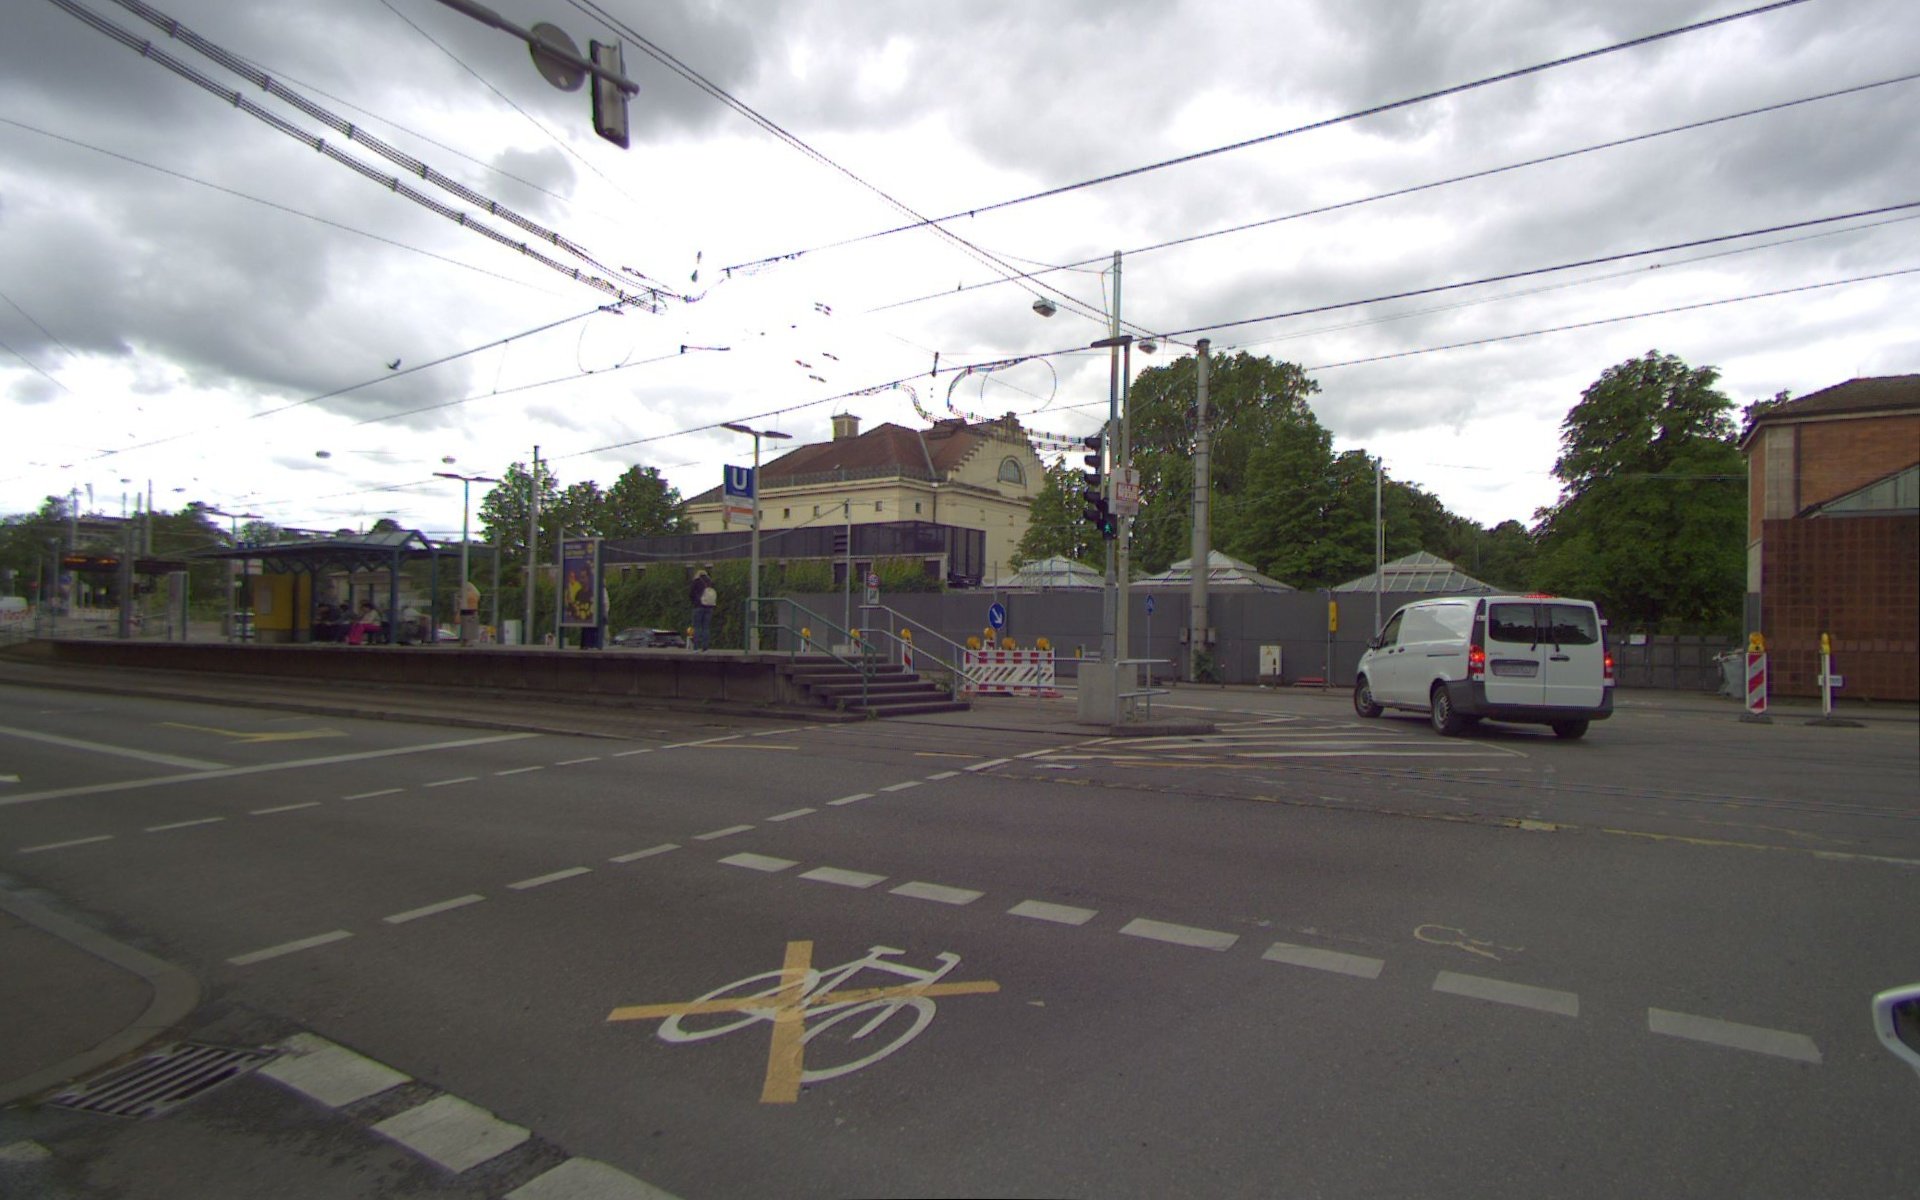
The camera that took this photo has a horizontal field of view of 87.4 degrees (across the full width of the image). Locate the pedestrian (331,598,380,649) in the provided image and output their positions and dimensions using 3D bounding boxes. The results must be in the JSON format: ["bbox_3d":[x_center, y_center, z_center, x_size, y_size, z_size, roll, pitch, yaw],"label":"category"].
[{"bbox_3d":[-15.876,0.618,26.385,0.761,1.286,0.807,1,-2,35],"label":"pedestrian"}]

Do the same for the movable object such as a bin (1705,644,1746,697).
[{"bbox_3d":[20.255,1.851,26.595,0.837,1.358,0.798,-1,-3,36],"label":"movable object such as a bin"}]

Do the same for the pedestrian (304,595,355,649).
[{"bbox_3d":[-16.831,0.590,26.831,0.920,1.391,0.819,1,-2,35],"label":"pedestrian"}]

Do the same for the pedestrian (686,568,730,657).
[{"bbox_3d":[-4.712,0.238,18.763,0.517,1.631,0.597,-1,-3,33],"label":"pedestrian"}]

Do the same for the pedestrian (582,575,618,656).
[{"bbox_3d":[-7.770,0.348,21.667,0.588,1.721,0.457,-1,-2,33],"label":"pedestrian"}]

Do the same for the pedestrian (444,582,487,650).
[{"bbox_3d":[-12.524,0.423,25.440,0.532,1.698,0.777,-1,-3,33],"label":"pedestrian"}]

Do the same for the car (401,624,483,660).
[{"bbox_3d":[-24.151,1.957,46.810,3.934,1.572,1.752,0,-3,35],"label":"car"}]

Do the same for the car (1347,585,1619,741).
[{"bbox_3d":[7.534,0.926,15.092,1.885,1.926,4.705,1,-3,4],"label":"car"}]

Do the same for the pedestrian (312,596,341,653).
[{"bbox_3d":[-18.739,0.718,29.698,0.473,1.662,0.595,2,-1,-10],"label":"pedestrian"}]

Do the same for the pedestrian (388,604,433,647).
[{"bbox_3d":[-14.696,0.681,26.884,0.640,1.137,0.819,1,-2,35],"label":"pedestrian"}]

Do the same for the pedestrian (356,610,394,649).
[{"bbox_3d":[-15.162,0.769,26.038,0.505,0.992,0.661,-1,-3,33],"label":"pedestrian"}]

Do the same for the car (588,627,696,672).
[{"bbox_3d":[-11.927,1.830,37.629,3.933,1.572,1.753,0,-3,34],"label":"car"}]
